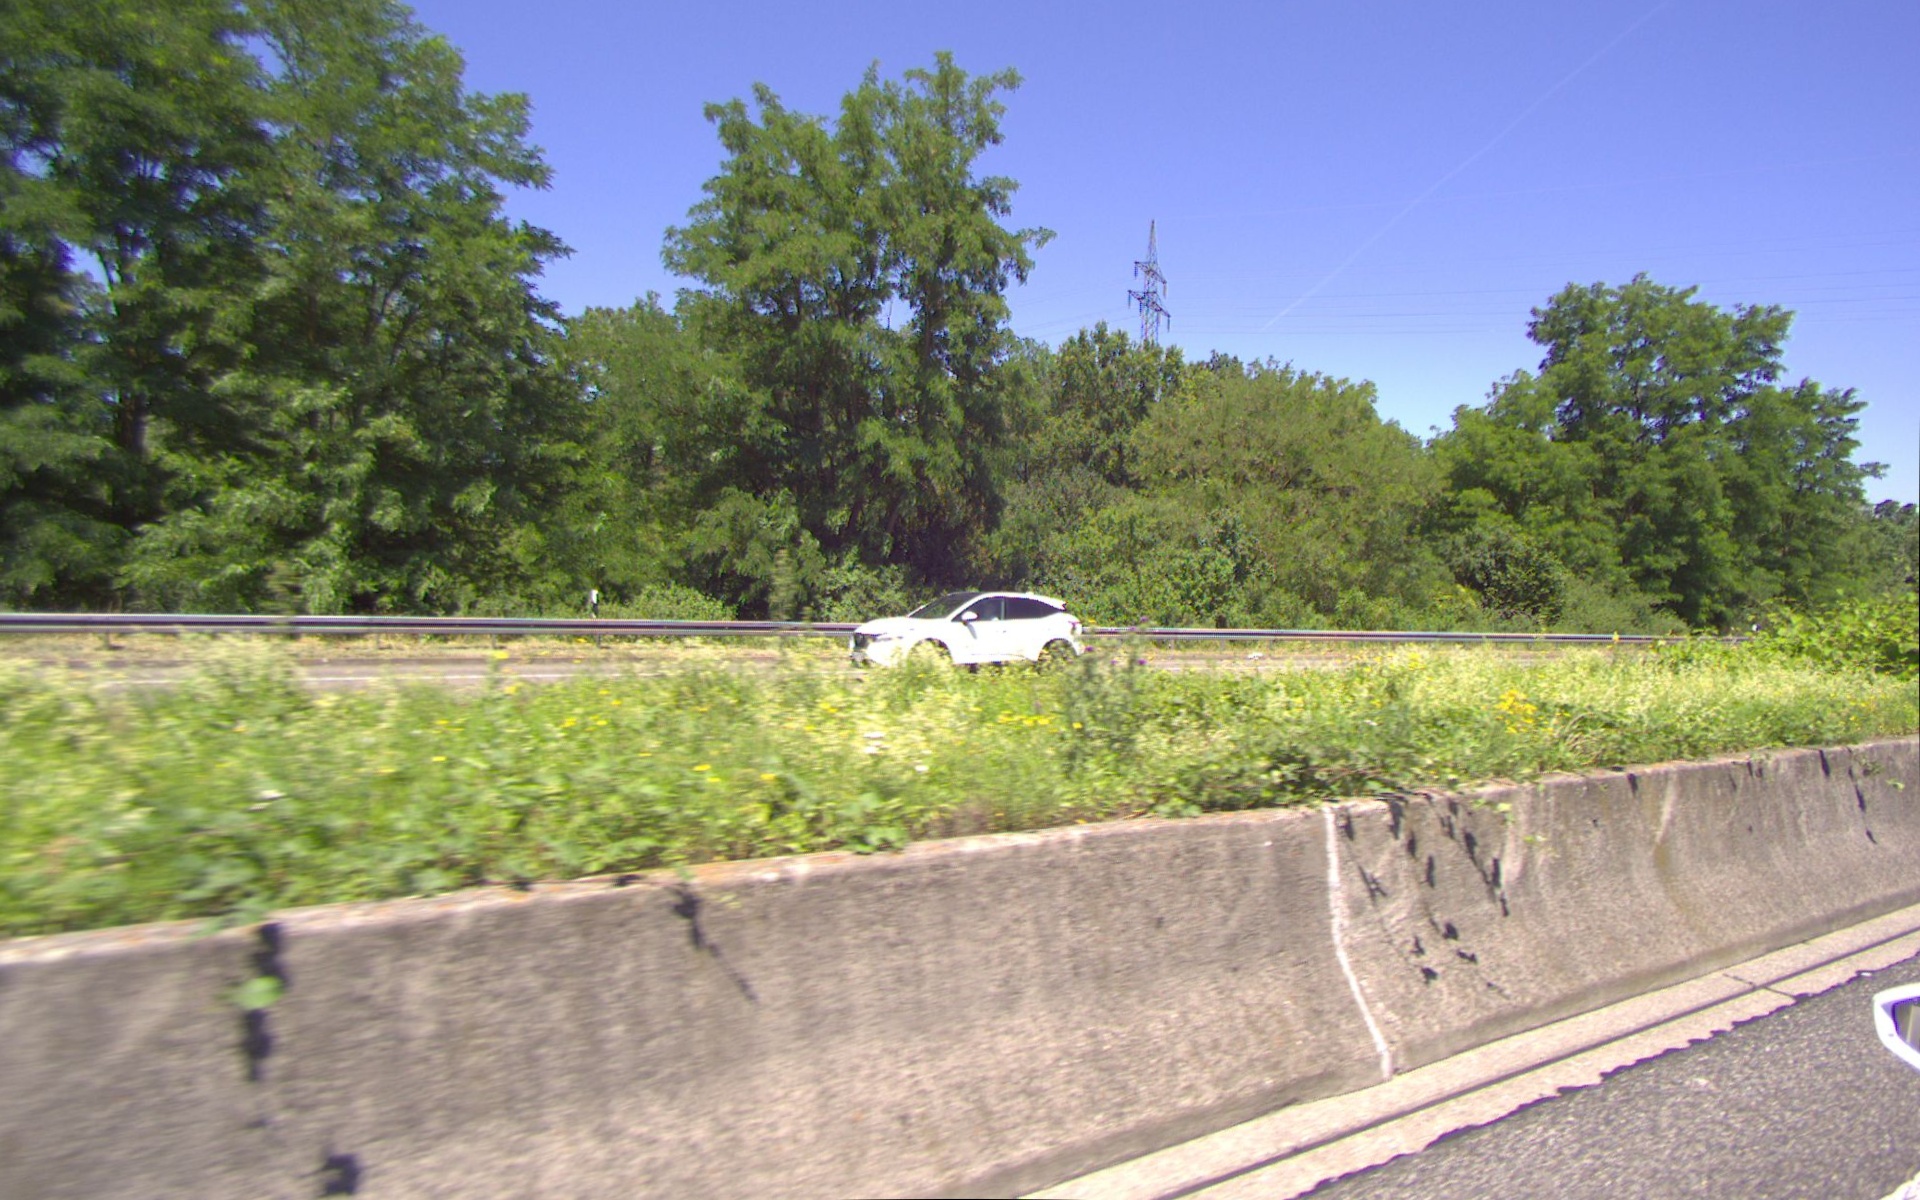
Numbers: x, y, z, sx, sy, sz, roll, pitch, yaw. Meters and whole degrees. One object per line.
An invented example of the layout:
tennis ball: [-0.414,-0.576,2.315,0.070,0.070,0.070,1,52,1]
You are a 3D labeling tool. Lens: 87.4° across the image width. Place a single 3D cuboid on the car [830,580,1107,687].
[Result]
car: [0.200,0.583,18.033,4.706,1.709,1.805,2,0,-30]
